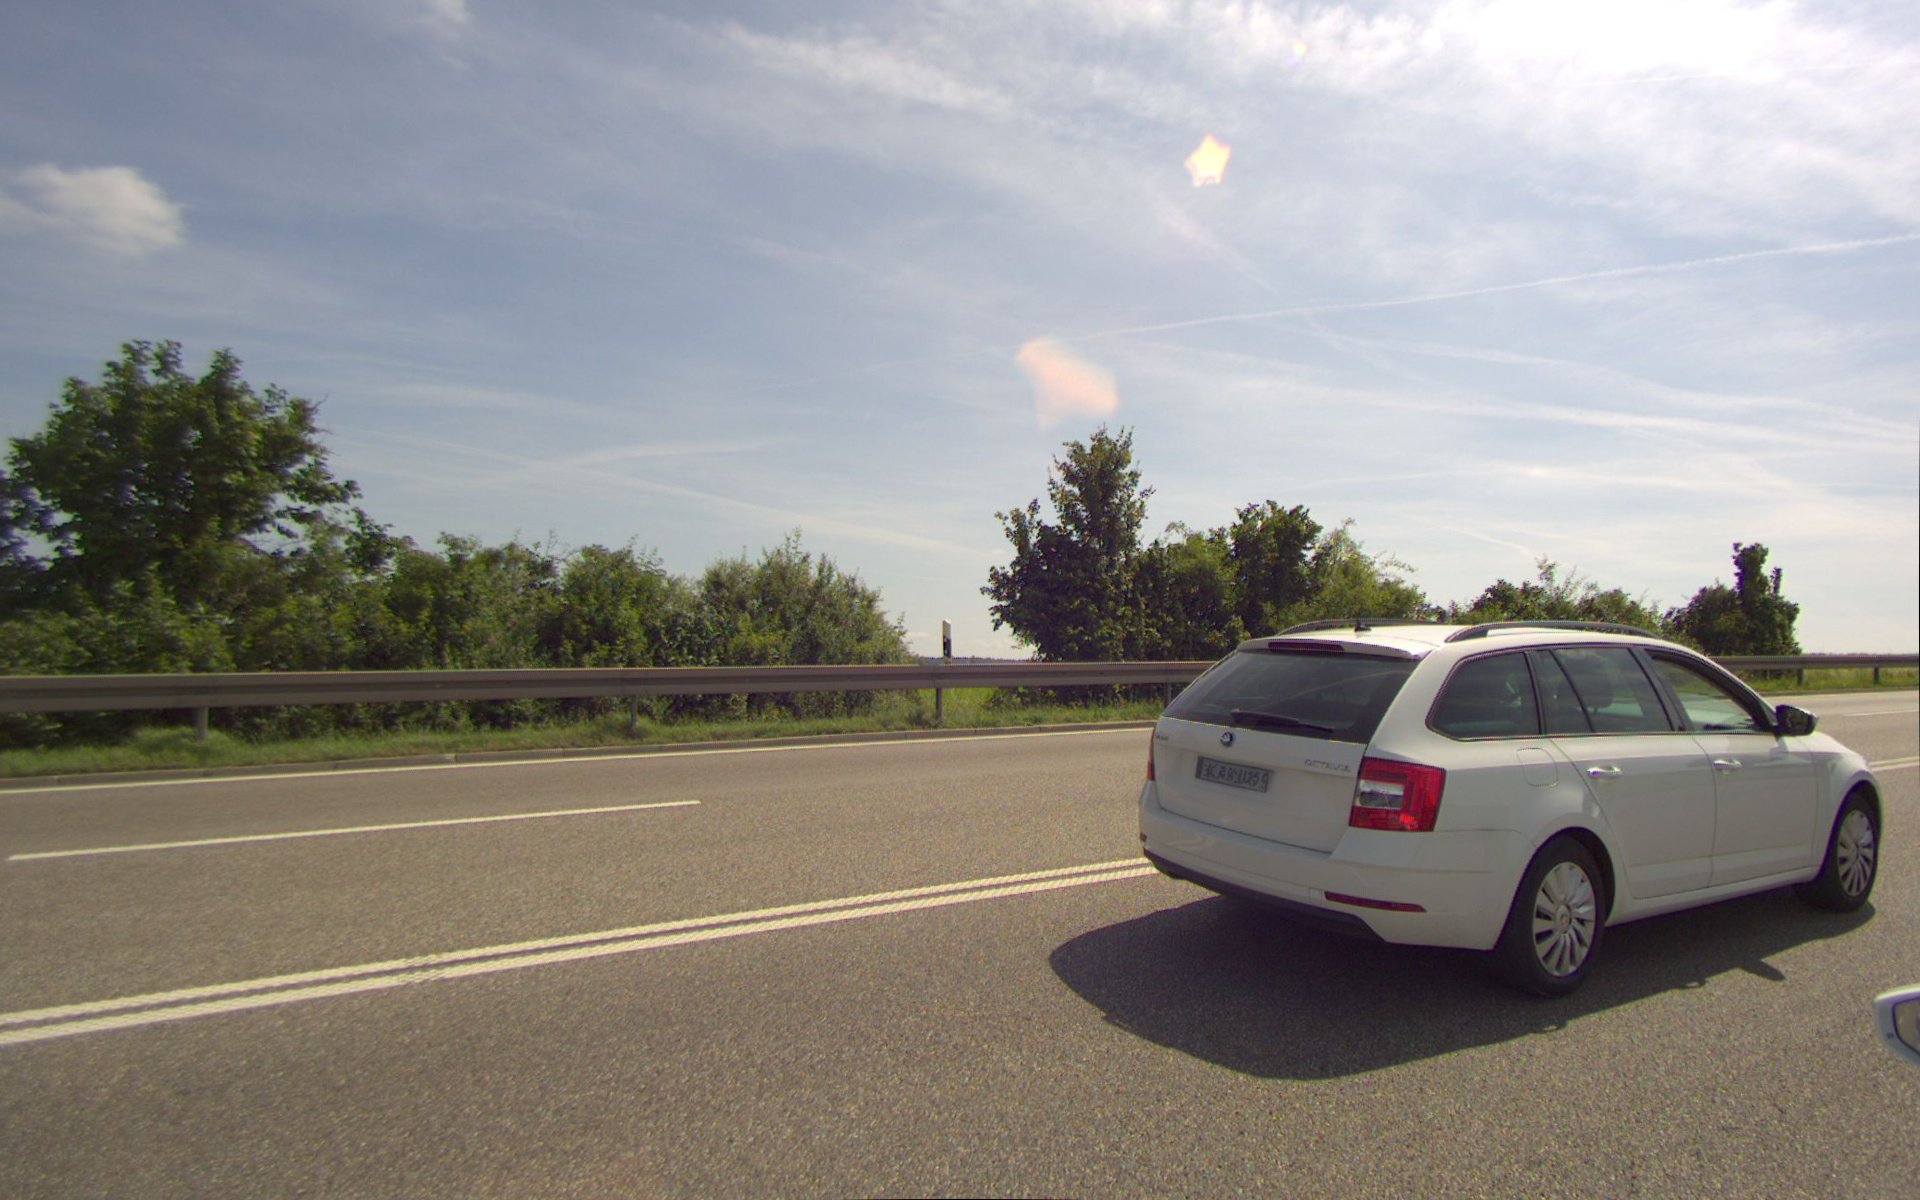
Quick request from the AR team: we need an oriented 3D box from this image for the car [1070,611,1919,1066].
[{"bbox_3d":[3.035,0.841,5.314,4.732,1.492,1.812,1,0,-30],"label":"car"}]
